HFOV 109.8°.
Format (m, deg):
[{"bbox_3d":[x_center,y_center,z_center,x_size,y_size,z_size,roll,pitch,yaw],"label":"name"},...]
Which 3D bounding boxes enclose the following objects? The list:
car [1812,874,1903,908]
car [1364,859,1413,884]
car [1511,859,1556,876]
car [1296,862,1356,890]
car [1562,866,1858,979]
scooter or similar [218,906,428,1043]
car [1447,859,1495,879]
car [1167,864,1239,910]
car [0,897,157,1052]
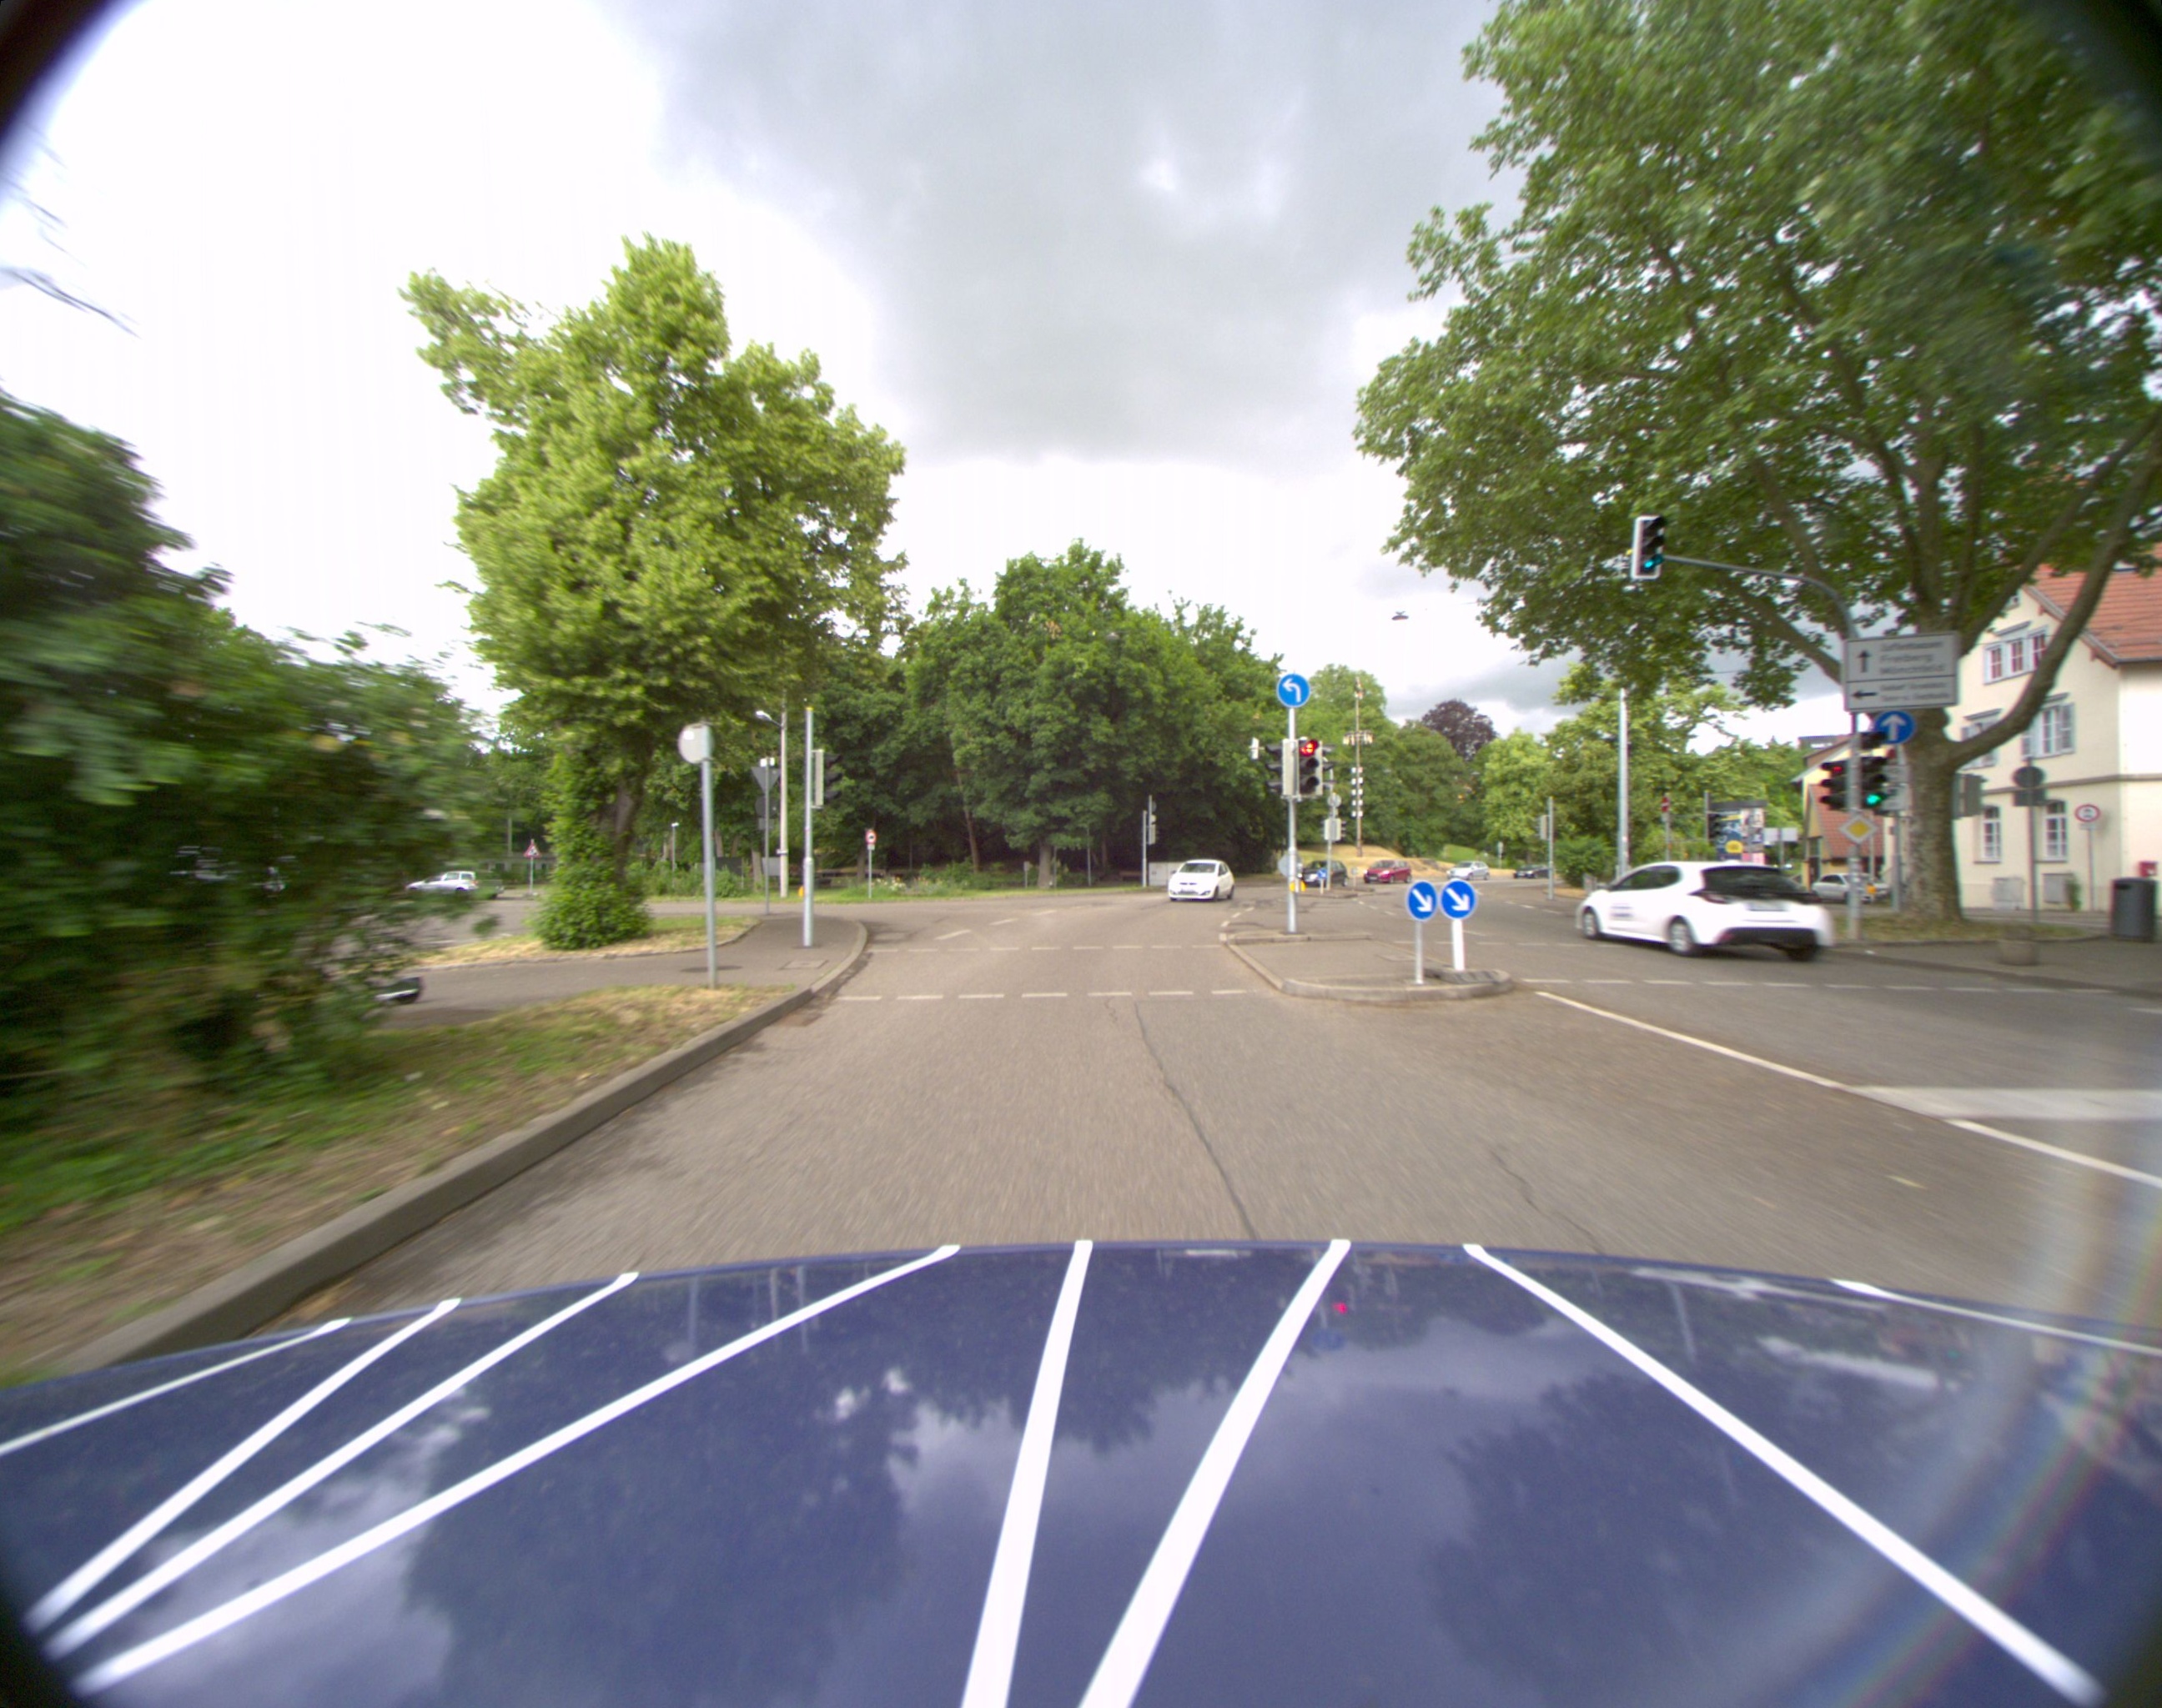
[{"bbox_3d":[38.468,1.798,37.763,1.650,1.483,3.486,0,0,16],"label":"car"},{"bbox_3d":[21.224,1.153,52.346,4.109,1.632,1.671,0,0,-45],"label":"car"},{"bbox_3d":[40.593,1.200,68.149,4.007,1.449,1.851,0,0,-32],"label":"car"},{"bbox_3d":[14.315,1.244,44.355,1.726,1.512,4.009,0,0,44],"label":"car"},{"bbox_3d":[9.952,0.973,12.503,1.766,1.458,4.023,1,0,5],"label":"car"},{"bbox_3d":[-7.446,1.152,7.532,1.364,1.160,0.411,-3,1,-26],"label":"scooter or similar"},{"bbox_3d":[31.566,1.217,61.536,4.007,1.559,1.779,0,0,-35],"label":"car"},{"bbox_3d":[4.486,1.123,27.447,1.625,1.499,4.007,0,0,24],"label":"car"},{"bbox_3d":[-10.978,1.186,6.239,2.002,1.378,4.780,0,0,-18],"label":"car"}]
